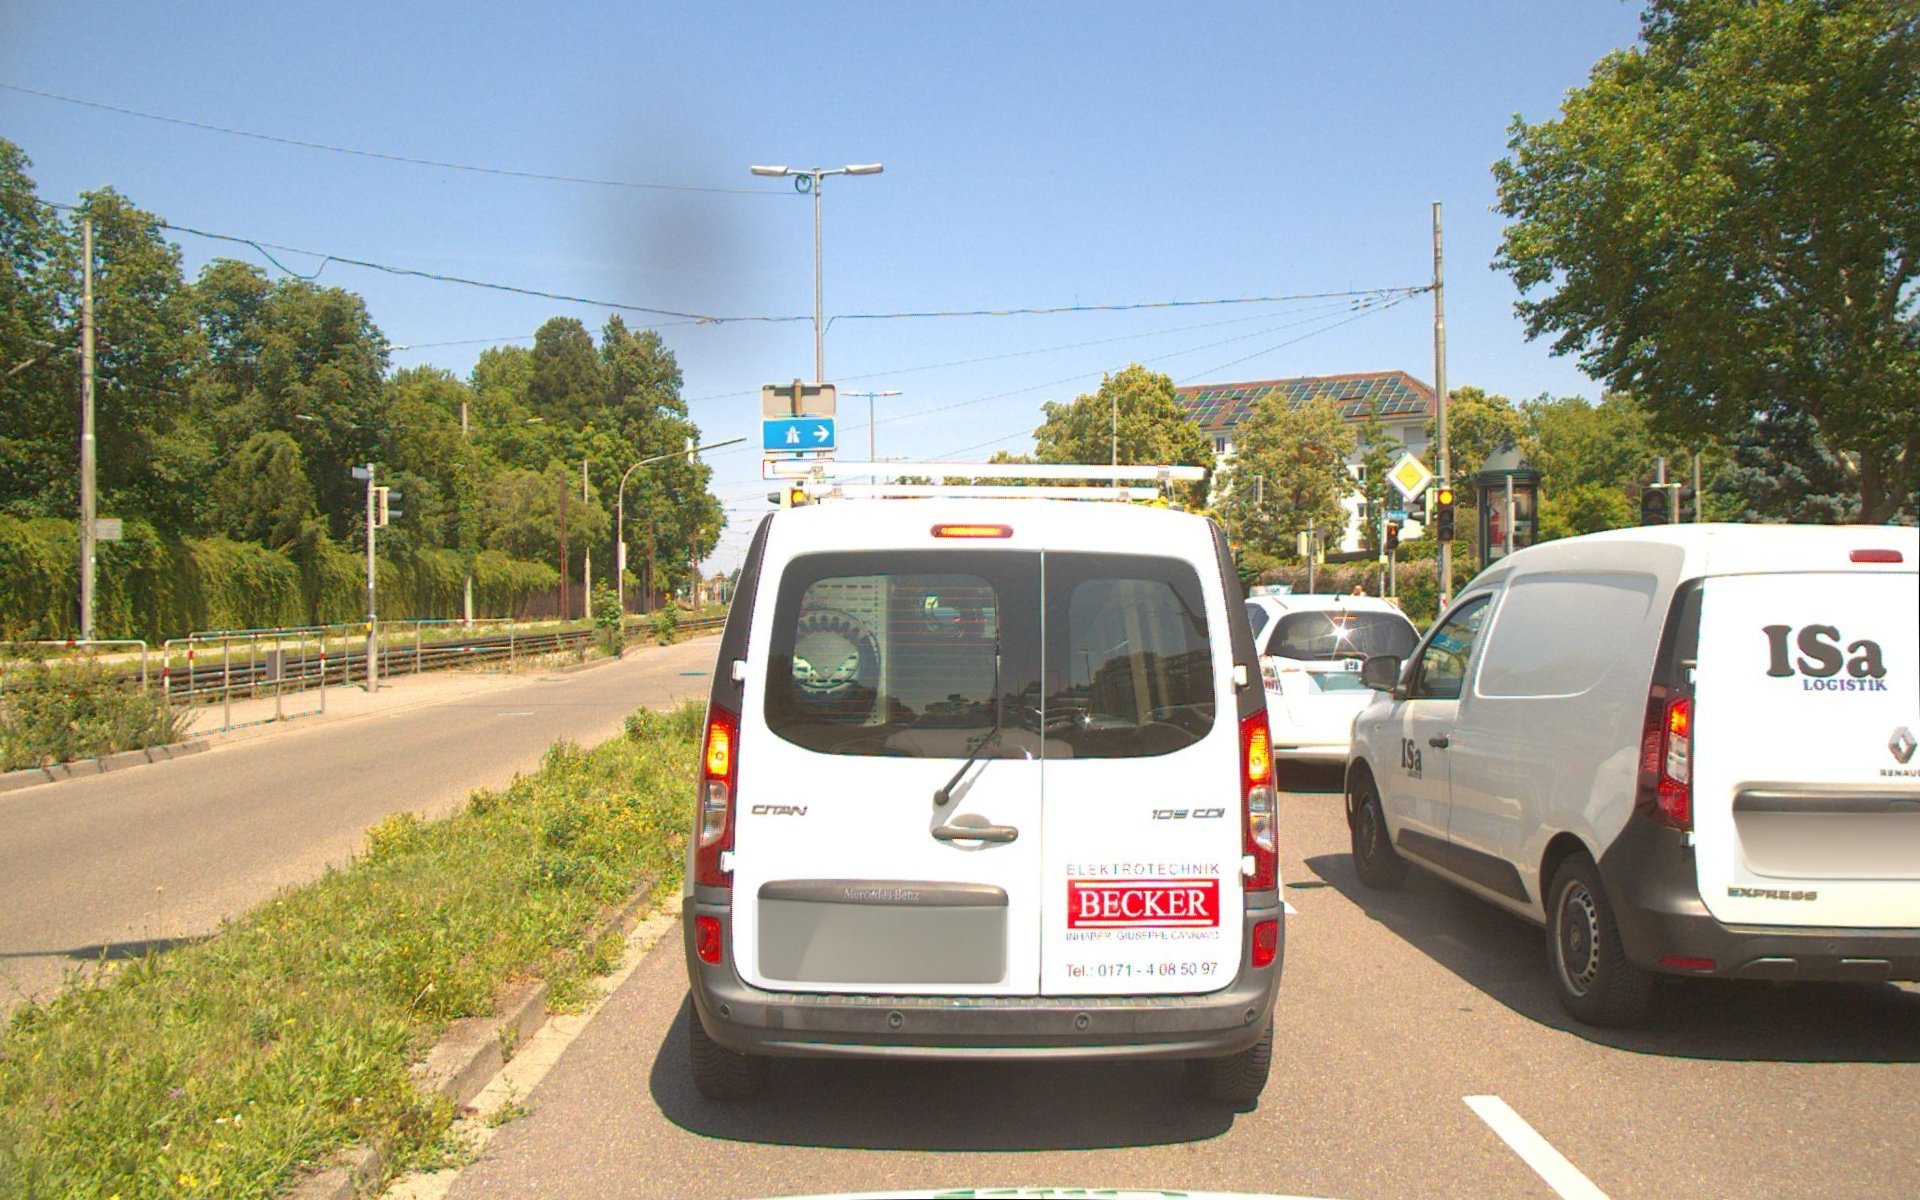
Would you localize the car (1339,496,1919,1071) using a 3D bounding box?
[{"bbox_3d":[3.054,0.593,7.313,1.693,1.819,4.063,1,0,-2],"label":"car"}]

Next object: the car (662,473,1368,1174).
[{"bbox_3d":[0.115,0.570,6.404,1.784,1.770,4.395,1,0,-1],"label":"car"}]

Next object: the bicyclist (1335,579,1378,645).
[{"bbox_3d":[11.069,0.333,46.157,0.955,1.819,0.725,0,0,-9],"label":"bicyclist"}]

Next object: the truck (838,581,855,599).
[{"bbox_3d":[-16.877,-1.467,246.405,2.095,2.633,5.888,1,0,-1],"label":"truck"}]

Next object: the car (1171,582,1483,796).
[{"bbox_3d":[3.063,0.661,14.637,1.798,1.596,3.999,1,1,-1],"label":"car"}]

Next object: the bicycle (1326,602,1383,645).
[{"bbox_3d":[11.005,0.652,46.173,0.875,1.179,1.952,0,0,-9],"label":"bicycle"}]

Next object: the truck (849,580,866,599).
[{"bbox_3d":[-14.734,-1.466,237.622,2.095,2.633,5.888,1,0,-1],"label":"truck"}]
